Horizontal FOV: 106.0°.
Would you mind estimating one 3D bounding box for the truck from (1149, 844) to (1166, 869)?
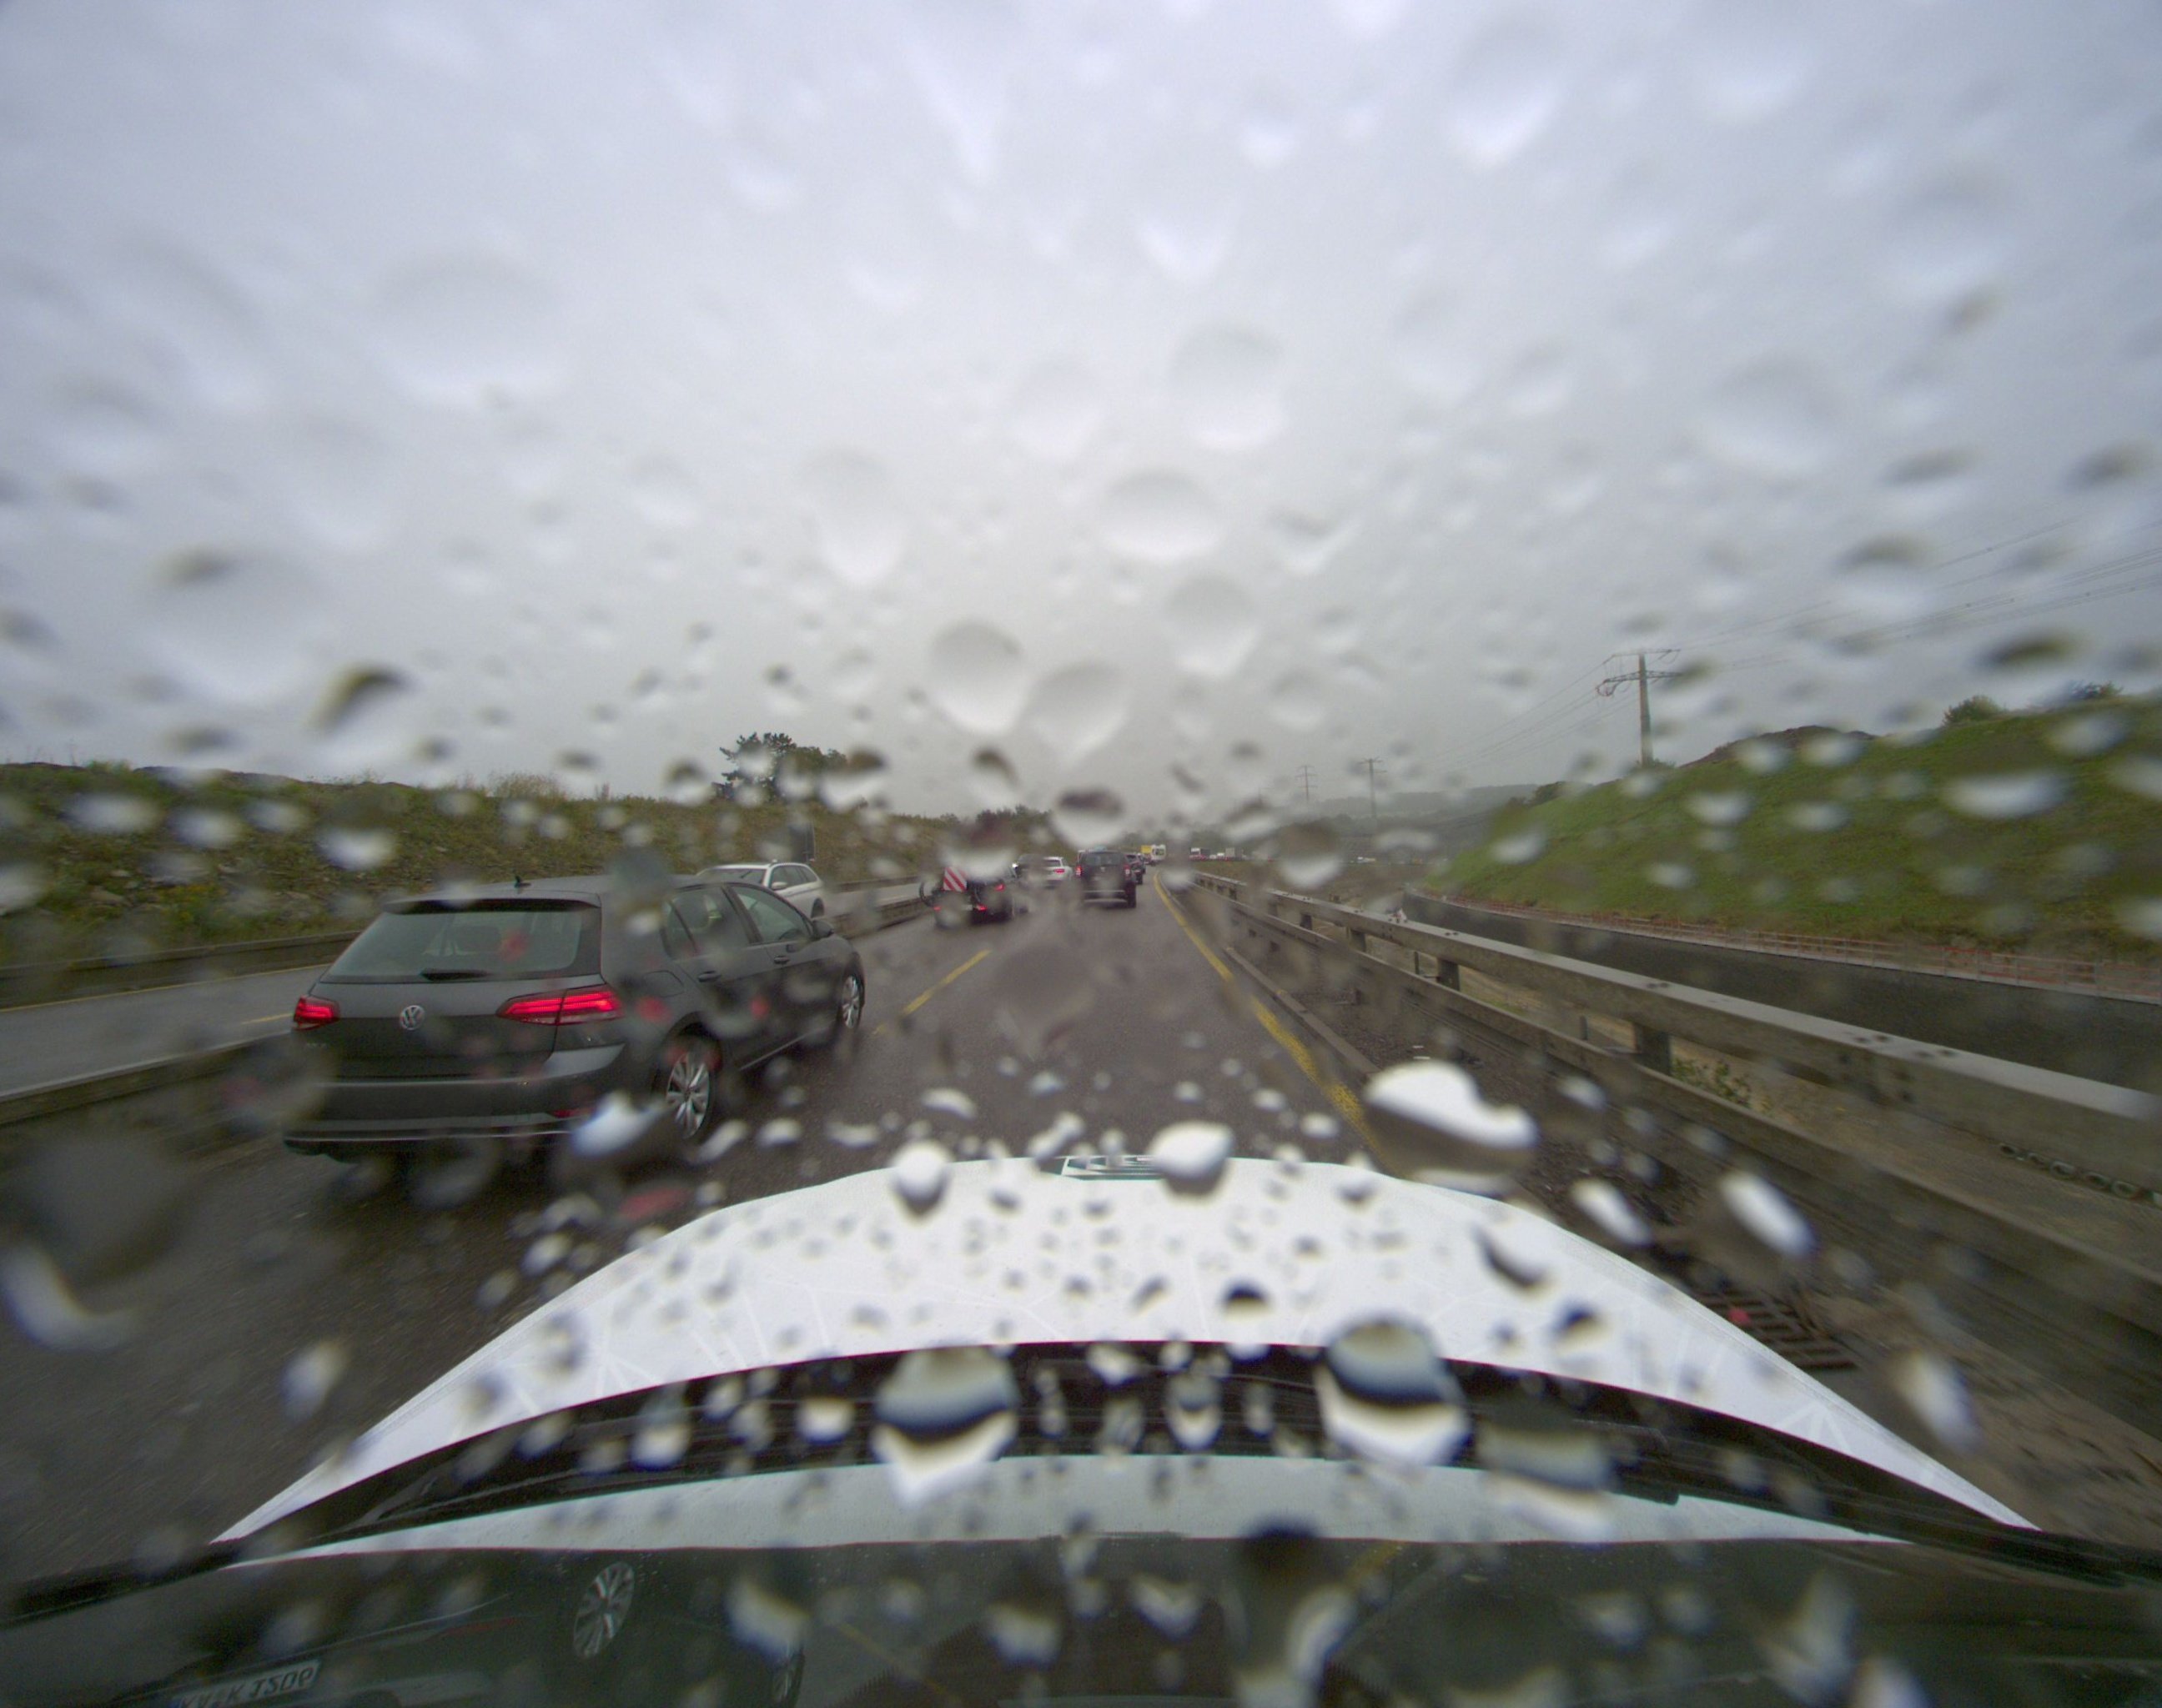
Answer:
[{"bbox_3d":[10.103,0.334,107.118,2.139,3.166,6.469,0,0,5],"label":"truck"}]

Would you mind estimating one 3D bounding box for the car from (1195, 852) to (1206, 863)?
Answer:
[{"bbox_3d":[22.497,0.657,153.087,1.764,1.916,4.012,0,0,11],"label":"car"}]

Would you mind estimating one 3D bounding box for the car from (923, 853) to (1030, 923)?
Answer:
[{"bbox_3d":[-2.369,0.739,19.446,1.821,1.476,3.780,-1,0,3],"label":"car"}]

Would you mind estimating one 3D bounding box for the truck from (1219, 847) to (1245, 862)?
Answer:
[{"bbox_3d":[42.818,0.151,230.451,4.677,4.150,15.763,0,0,21],"label":"truck"}]

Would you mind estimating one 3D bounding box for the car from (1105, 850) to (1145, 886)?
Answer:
[{"bbox_3d":[2.231,0.669,40.579,1.859,1.708,4.005,0,0,4],"label":"car"}]

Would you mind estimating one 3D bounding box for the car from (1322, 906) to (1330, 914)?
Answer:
[{"bbox_3d":[71.088,16.073,235.841,1.977,2.013,4.020,0,0,20],"label":"car"}]

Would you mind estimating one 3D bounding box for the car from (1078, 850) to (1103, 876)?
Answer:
[{"bbox_3d":[0.736,0.631,59.277,1.653,1.880,4.024,0,0,4],"label":"car"}]

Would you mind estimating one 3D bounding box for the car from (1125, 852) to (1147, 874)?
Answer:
[{"bbox_3d":[4.165,0.647,61.524,1.523,1.640,4.018,0,0,5],"label":"car"}]

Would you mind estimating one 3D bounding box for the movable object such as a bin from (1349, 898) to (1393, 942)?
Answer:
[{"bbox_3d":[28.989,6.563,81.617,3.199,3.867,4.128,1,1,5],"label":"movable object such as a bin"}]

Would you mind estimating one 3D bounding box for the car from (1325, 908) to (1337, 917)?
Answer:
[{"bbox_3d":[56.764,13.247,184.888,1.981,1.816,4.011,-1,0,10],"label":"car"}]

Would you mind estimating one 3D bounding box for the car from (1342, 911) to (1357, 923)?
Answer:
[{"bbox_3d":[55.048,12.946,166.920,2.352,2.013,4.008,0,0,7],"label":"car"}]

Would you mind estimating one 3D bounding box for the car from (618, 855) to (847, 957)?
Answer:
[{"bbox_3d":[-6.351,0.854,15.664,2.037,1.633,4.993,-1,0,3],"label":"car"}]

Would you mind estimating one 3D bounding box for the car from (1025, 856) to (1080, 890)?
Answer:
[{"bbox_3d":[-1.259,0.831,37.821,1.858,1.460,4.557,0,0,7],"label":"car"}]

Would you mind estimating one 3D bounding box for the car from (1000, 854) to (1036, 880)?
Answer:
[{"bbox_3d":[-4.270,0.850,55.987,1.804,1.593,4.904,-2,0,2],"label":"car"}]

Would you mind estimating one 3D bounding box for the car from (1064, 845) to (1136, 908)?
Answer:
[{"bbox_3d":[0.633,0.598,23.395,1.796,1.646,3.782,-1,0,5],"label":"car"}]

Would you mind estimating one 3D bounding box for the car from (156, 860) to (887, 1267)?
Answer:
[{"bbox_3d":[-2.724,0.839,5.373,1.608,1.506,4.371,-2,0,2],"label":"car"}]

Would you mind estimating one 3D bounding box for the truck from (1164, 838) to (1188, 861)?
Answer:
[{"bbox_3d":[15.739,-0.684,134.535,3.180,3.761,8.535,0,0,11],"label":"truck"}]
